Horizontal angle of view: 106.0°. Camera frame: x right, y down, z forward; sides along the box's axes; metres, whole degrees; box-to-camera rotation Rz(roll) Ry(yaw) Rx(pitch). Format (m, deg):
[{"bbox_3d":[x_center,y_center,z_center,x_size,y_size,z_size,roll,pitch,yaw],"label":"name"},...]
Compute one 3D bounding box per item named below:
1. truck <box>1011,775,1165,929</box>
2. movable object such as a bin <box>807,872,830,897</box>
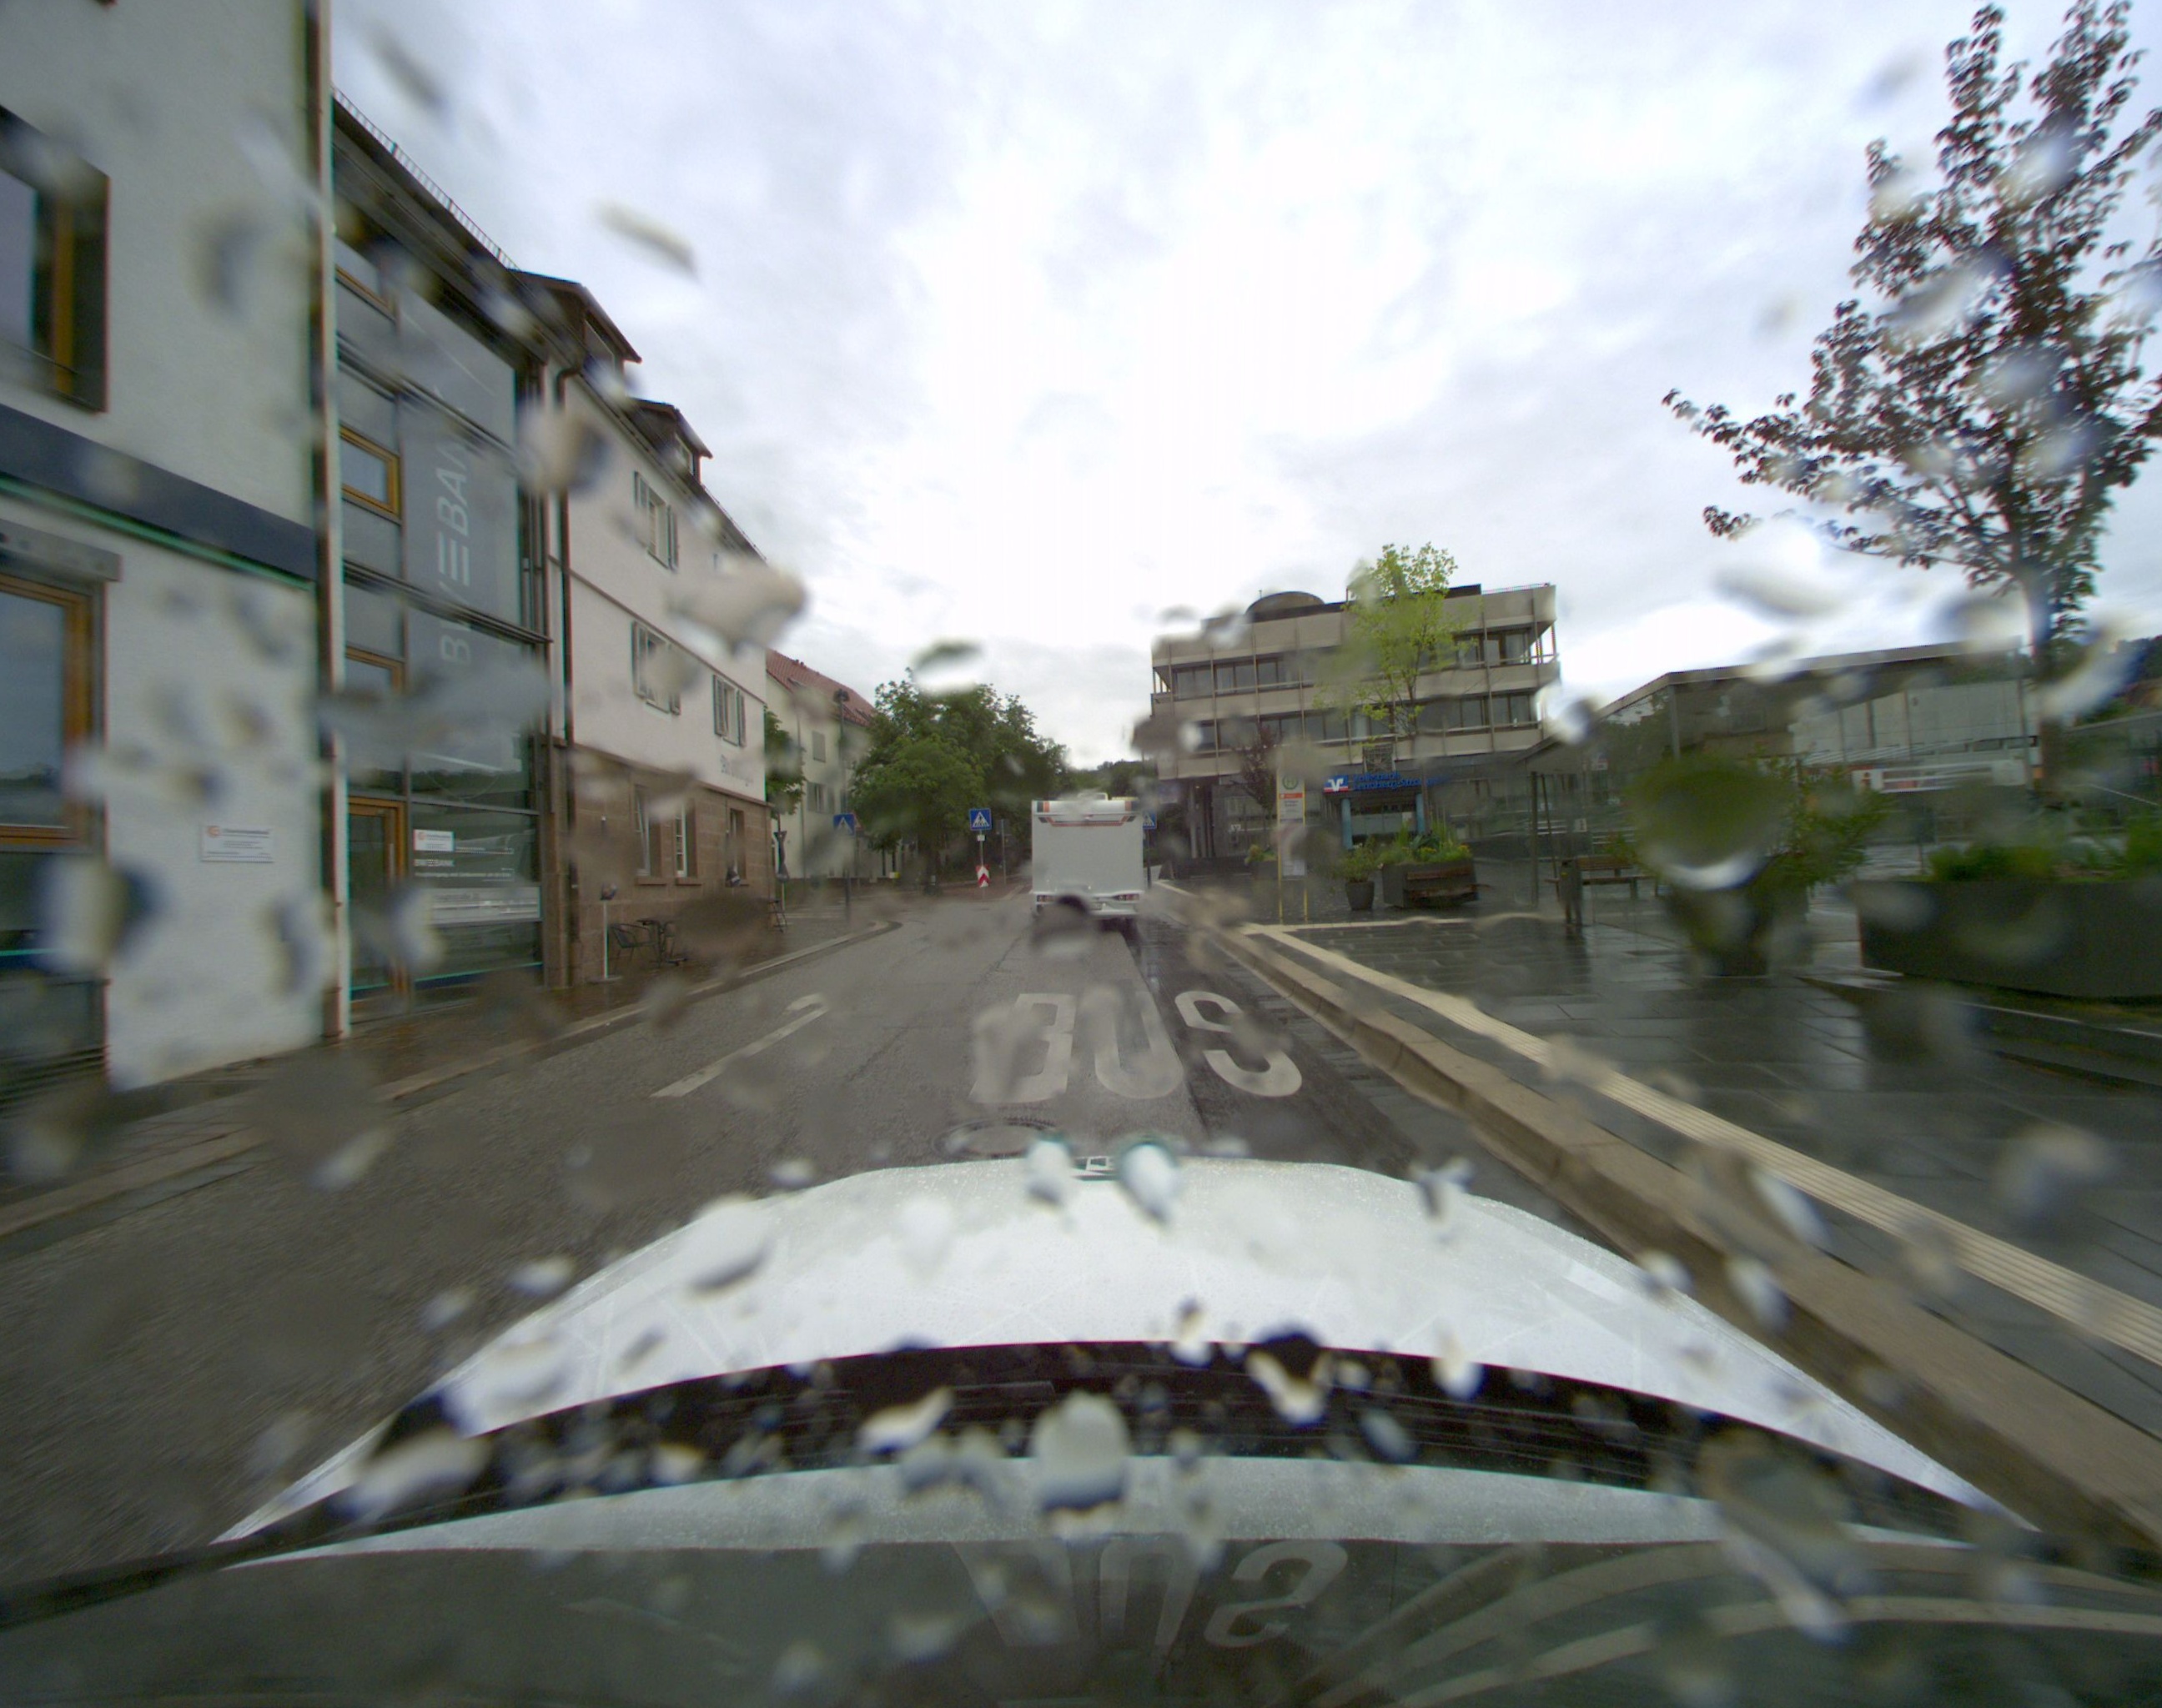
[{"bbox_3d":[0.119,0.023,18.884,2.797,2.797,6.104,-4,-1,-1],"label":"truck"},{"bbox_3d":[-12.012,1.407,37.273,0.628,1.059,0.702,-5,-1,25],"label":"movable object such as a bin"}]
